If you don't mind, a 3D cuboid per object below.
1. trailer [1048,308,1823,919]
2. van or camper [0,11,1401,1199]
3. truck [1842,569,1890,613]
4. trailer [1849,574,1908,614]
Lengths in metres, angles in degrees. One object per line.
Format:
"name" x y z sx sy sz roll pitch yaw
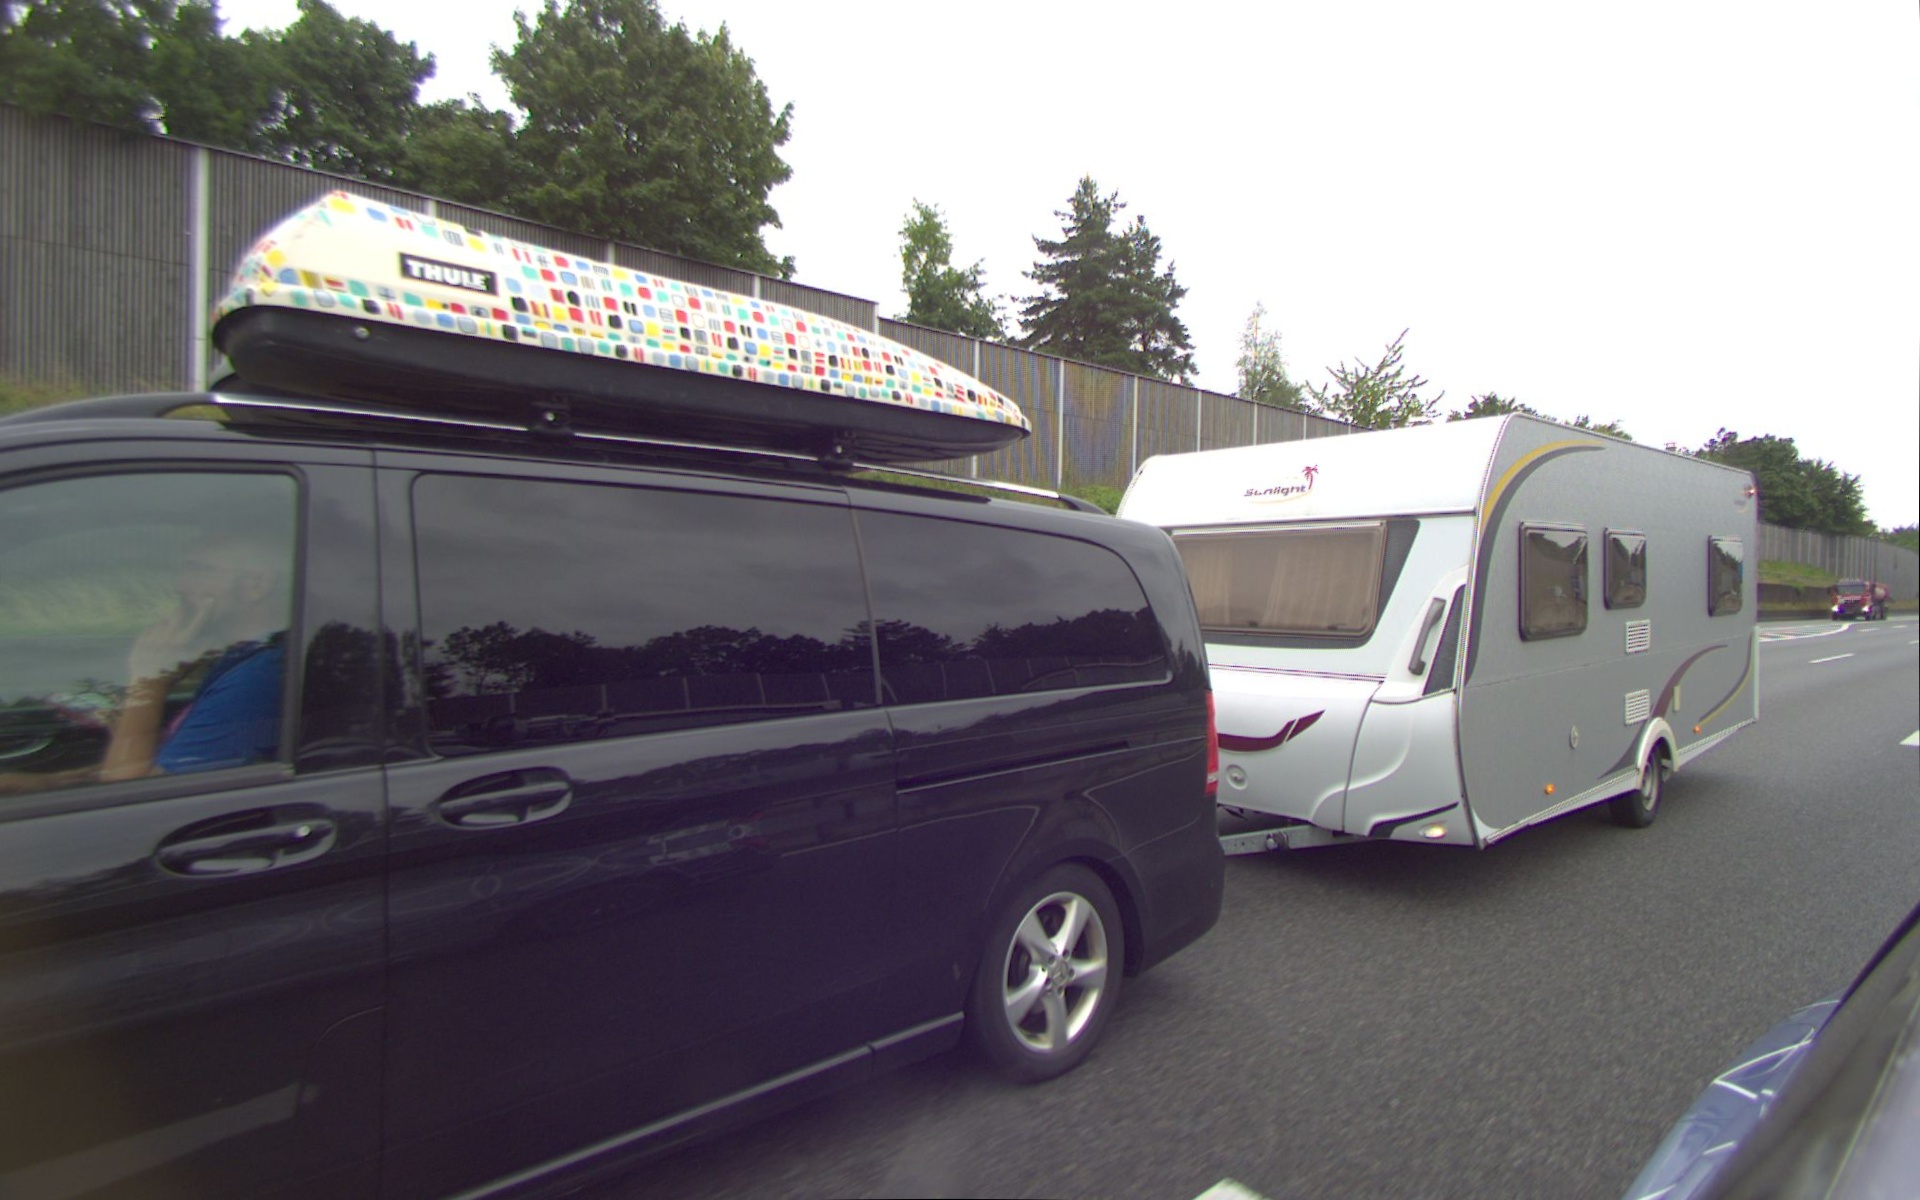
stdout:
"trailer" 4.242 0.027 7.902 7.380 2.675 2.726 0 1 -41
"van or camper" -0.842 0.272 3.197 5.580 2.298 1.894 -1 1 -41
"truck" 75.022 -0.748 83.777 3.930 3.508 2.419 0 1 -41
"trailer" 79.412 -0.531 87.442 9.233 3.288 2.452 0 1 -40
